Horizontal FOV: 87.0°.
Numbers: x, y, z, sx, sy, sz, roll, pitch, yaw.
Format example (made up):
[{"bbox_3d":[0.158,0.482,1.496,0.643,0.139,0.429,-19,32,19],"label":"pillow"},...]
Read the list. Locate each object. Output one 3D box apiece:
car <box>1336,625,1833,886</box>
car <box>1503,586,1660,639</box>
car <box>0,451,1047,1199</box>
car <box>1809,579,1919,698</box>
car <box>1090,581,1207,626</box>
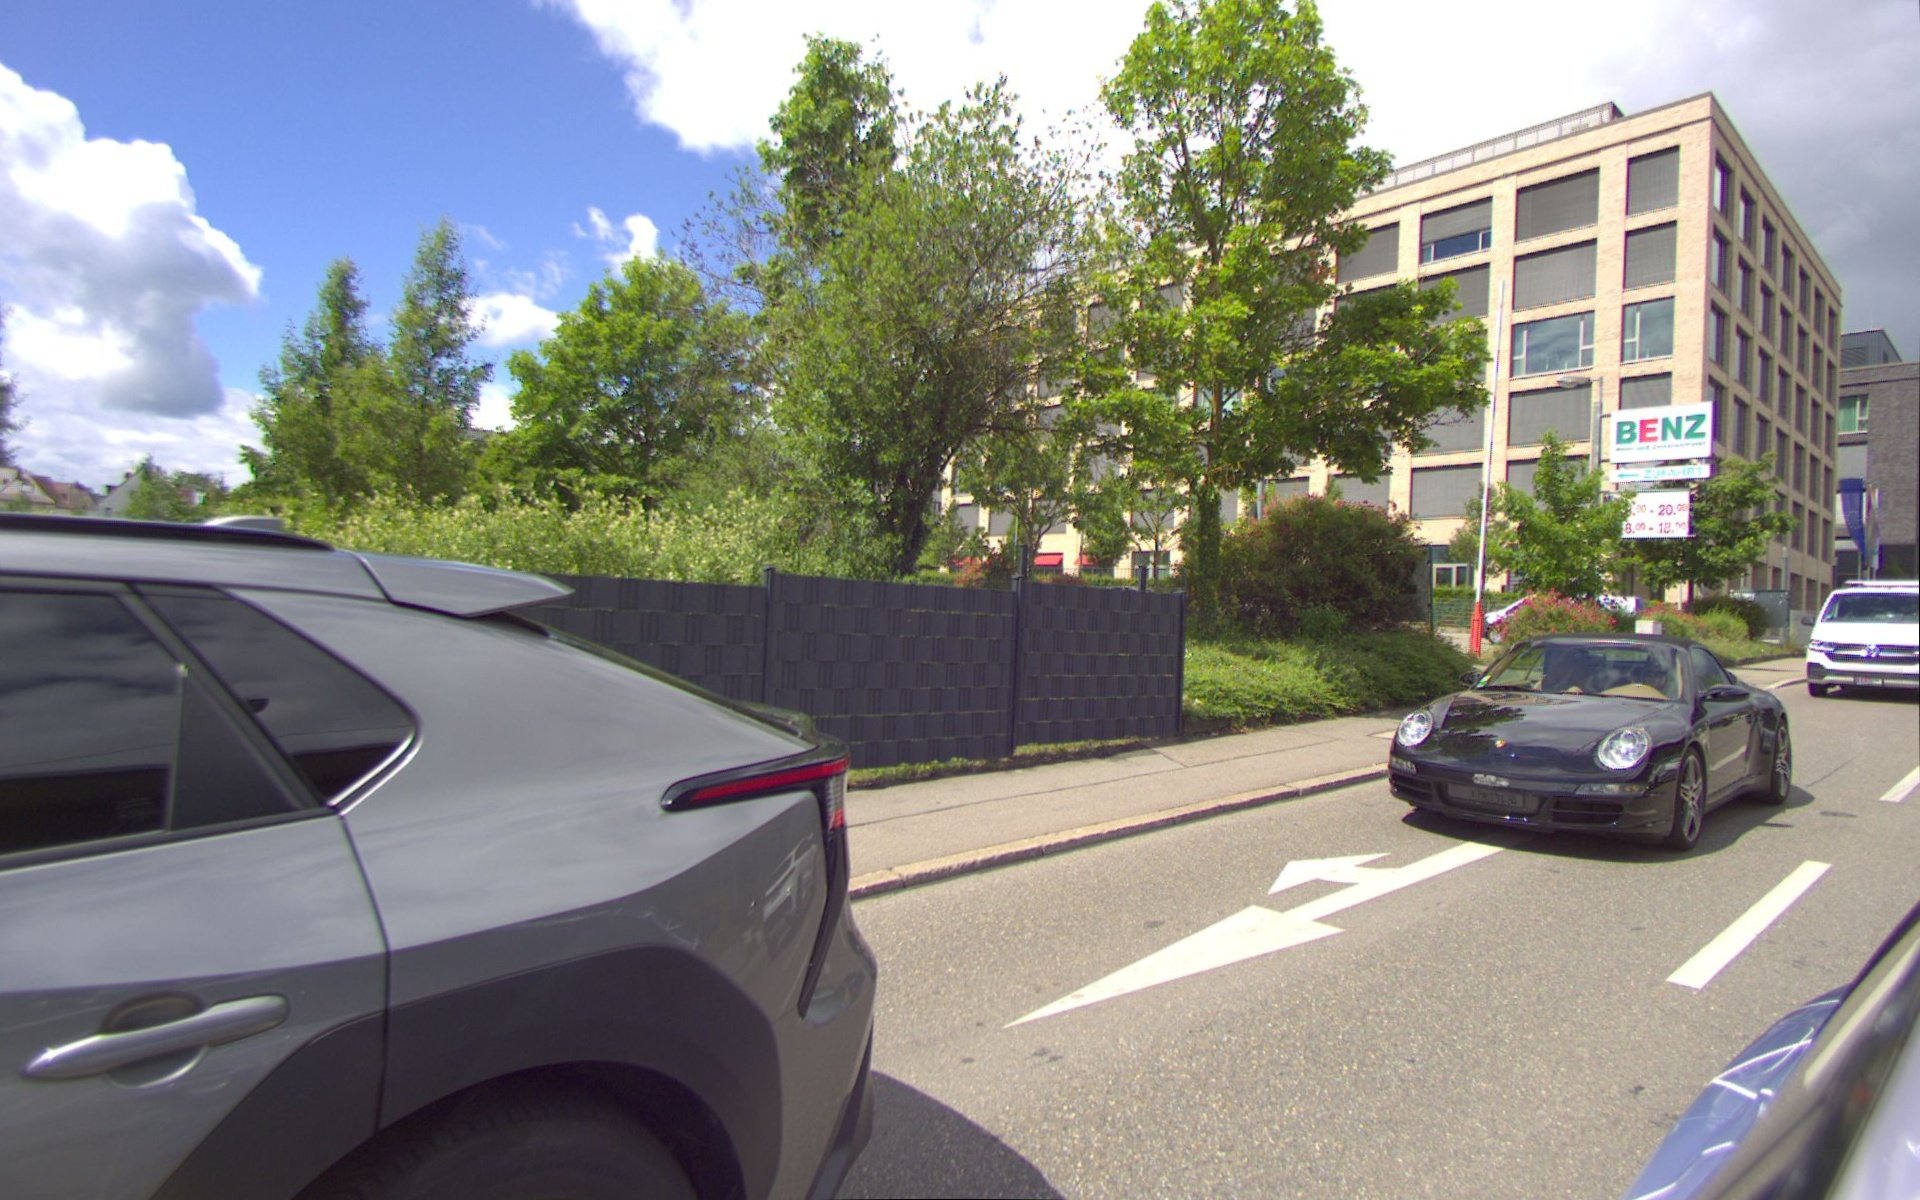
[{"bbox_3d":[4.740,0.857,7.382,4.487,1.290,1.776,1,-1,-40],"label":"car"},{"bbox_3d":[20.913,0.382,34.155,1.707,1.596,4.211,1,1,-44],"label":"car"},{"bbox_3d":[-2.177,0.660,1.281,4.601,1.634,1.922,1,-1,-41],"label":"car"},{"bbox_3d":[16.603,0.624,17.730,4.563,1.874,1.962,1,-1,-41],"label":"car"},{"bbox_3d":[6.714,0.099,36.298,1.572,1.427,3.994,0,2,-41],"label":"car"}]
